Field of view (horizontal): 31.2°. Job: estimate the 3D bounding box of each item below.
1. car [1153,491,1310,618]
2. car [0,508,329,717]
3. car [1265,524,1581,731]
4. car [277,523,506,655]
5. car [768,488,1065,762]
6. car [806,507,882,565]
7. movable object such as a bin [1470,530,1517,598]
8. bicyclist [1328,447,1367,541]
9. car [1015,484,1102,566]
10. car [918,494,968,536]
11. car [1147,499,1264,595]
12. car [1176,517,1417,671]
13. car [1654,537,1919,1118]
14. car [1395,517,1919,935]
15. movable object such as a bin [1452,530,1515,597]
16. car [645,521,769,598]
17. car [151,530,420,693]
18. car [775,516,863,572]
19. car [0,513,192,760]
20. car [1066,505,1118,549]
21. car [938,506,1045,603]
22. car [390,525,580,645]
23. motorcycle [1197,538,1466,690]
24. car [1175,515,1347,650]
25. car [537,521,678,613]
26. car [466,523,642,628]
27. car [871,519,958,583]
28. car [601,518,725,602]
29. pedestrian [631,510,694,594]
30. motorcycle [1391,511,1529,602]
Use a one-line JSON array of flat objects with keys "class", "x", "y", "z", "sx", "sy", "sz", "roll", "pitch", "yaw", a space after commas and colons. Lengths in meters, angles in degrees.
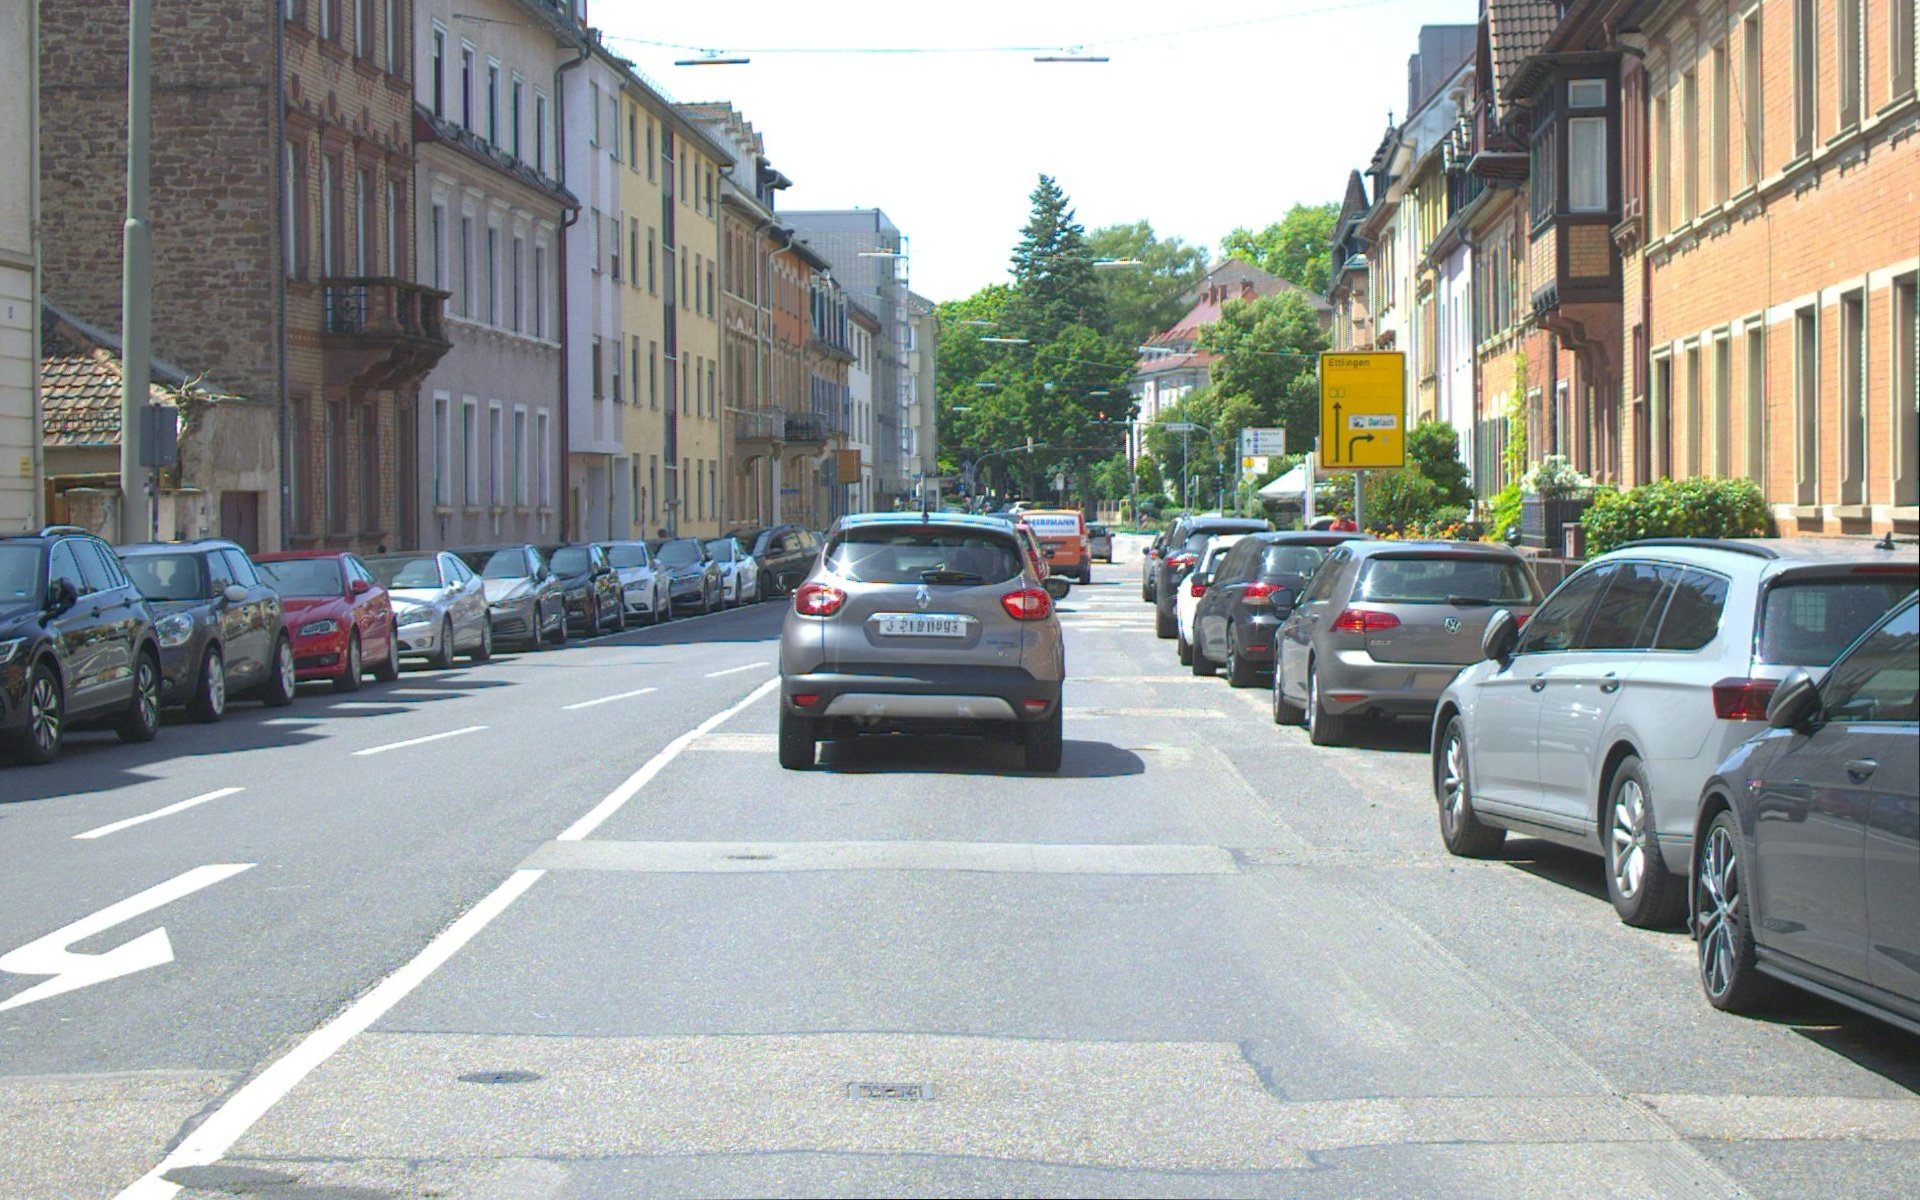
[{"class": "car", "x": 3.750, "y": -0.660, "z": 48.087, "sx": 1.994, "sy": 1.656, "sz": 4.625, "roll": -1, "pitch": 1, "yaw": 2}, {"class": "car", "x": -7.014, "y": 0.064, "z": 30.339, "sx": 1.840, "sy": 1.591, "sz": 4.502, "roll": -4, "pitch": 1, "yaw": 2}, {"class": "car", "x": 3.264, "y": 0.142, "z": 24.955, "sx": 1.700, "sy": 1.376, "sz": 4.167, "roll": 0, "pitch": 1, "yaw": 0}, {"class": "car", "x": -6.793, "y": -0.172, "z": 41.521, "sx": 1.840, "sy": 1.417, "sz": 4.502, "roll": -3, "pitch": 1, "yaw": 2}, {"class": "car", "x": -0.280, "y": 0.098, "z": 22.359, "sx": 1.744, "sy": 1.611, "sz": 4.000, "roll": 1, "pitch": 1, "yaw": -1}, {"class": "car", "x": -3.473, "y": -1.935, "z": 103.561, "sx": 1.905, "sy": 1.614, "sz": 4.302, "roll": -3, "pitch": 1, "yaw": 2}, {"class": "movable object such as a bin", "x": 8.412, "y": -0.569, "z": 54.214, "sx": 0.659, "sy": 1.051, "sz": 0.748, "roll": -1, "pitch": 1, "yaw": 4}, {"class": "bicyclist", "x": 6.147, "y": -1.676, "z": 54.559, "sx": 0.532, "sy": 1.464, "sz": 0.791, "roll": -1, "pitch": 1, "yaw": 3}, {"class": "car", "x": 2.566, "y": -1.957, "z": 88.546, "sx": 1.994, "sy": 2.006, "sz": 4.466, "roll": -1, "pitch": 2, "yaw": 4}, {"class": "car", "x": -0.736, "y": -3.837, "z": 155.193, "sx": 1.905, "sy": 1.815, "sz": 4.302, "roll": -1, "pitch": 1, "yaw": 4}, {"class": "car", "x": 4.653, "y": -1.048, "z": 65.731, "sx": 1.860, "sy": 1.742, "sz": 4.618, "roll": 1, "pitch": 2, "yaw": 0}, {"class": "car", "x": 3.219, "y": -0.100, "z": 33.696, "sx": 1.648, "sy": 1.409, "sz": 4.502, "roll": 0, "pitch": 1, "yaw": -4}, {"class": "car", "x": 3.180, "y": 0.555, "z": 9.240, "sx": 1.651, "sy": 1.415, "sz": 4.049, "roll": -1, "pitch": 2, "yaw": -2}, {"class": "car", "x": 3.237, "y": 0.393, "z": 14.349, "sx": 1.853, "sy": 1.458, "sz": 4.551, "roll": 0, "pitch": 1, "yaw": -6}, {"class": "movable object such as a bin", "x": 7.326, "y": -0.512, "z": 48.116, "sx": 0.788, "sy": 0.904, "sz": 0.539, "roll": -1, "pitch": 1, "yaw": 0}, {"class": "car", "x": -5.130, "y": -0.846, "z": 70.175, "sx": 1.840, "sy": 1.417, "sz": 4.557, "roll": -4, "pitch": 1, "yaw": 4}, {"class": "car", "x": -6.743, "y": 0.060, "z": 34.826, "sx": 1.839, "sy": 1.417, "sz": 4.503, "roll": -3, "pitch": 1, "yaw": -1}, {"class": "car", "x": -3.828, "y": -1.556, "z": 94.178, "sx": 1.905, "sy": 1.396, "sz": 4.755, "roll": -3, "pitch": 1, "yaw": 3}, {"class": "car", "x": -6.978, "y": 0.227, "z": 24.438, "sx": 1.840, "sy": 1.591, "sz": 4.502, "roll": -3, "pitch": 1, "yaw": 2}, {"class": "car", "x": 4.822, "y": -2.681, "z": 125.185, "sx": 1.763, "sy": 1.554, "sz": 3.942, "roll": -1, "pitch": 2, "yaw": 4}, {"class": "car", "x": 0.591, "y": -0.839, "z": 61.841, "sx": 1.812, "sy": 1.615, "sz": 4.441, "roll": -2, "pitch": 1, "yaw": 1}, {"class": "car", "x": -6.483, "y": -0.242, "z": 47.379, "sx": 1.840, "sy": 1.417, "sz": 4.502, "roll": -5, "pitch": 1, "yaw": 1}, {"class": "motorcycle", "x": 3.167, "y": 0.100, "z": 29.376, "sx": 1.994, "sy": 1.221, "sz": 1.110, "roll": 2, "pitch": 2, "yaw": 41}, {"class": "car", "x": 3.350, "y": -0.241, "z": 38.926, "sx": 1.716, "sy": 1.409, "sz": 4.589, "roll": -1, "pitch": 1, "yaw": 3}, {"class": "car", "x": -5.946, "y": -0.580, "z": 58.487, "sx": 1.840, "sy": 1.417, "sz": 4.502, "roll": -3, "pitch": 1, "yaw": 0}, {"class": "car", "x": -6.231, "y": -0.417, "z": 53.240, "sx": 1.840, "sy": 1.417, "sz": 4.502, "roll": -4, "pitch": 1, "yaw": 4}, {"class": "car", "x": -1.021, "y": -1.149, "z": 79.005, "sx": 1.790, "sy": 1.415, "sz": 4.315, "roll": 0, "pitch": 1, "yaw": 2}, {"class": "car", "x": -5.524, "y": -0.770, "z": 64.406, "sx": 1.840, "sy": 1.417, "sz": 4.646, "roll": -3, "pitch": 1, "yaw": 0}, {"class": "pedestrian", "x": -6.318, "y": -1.026, "z": 73.129, "sx": 1.151, "sy": 1.744, "sz": 0.969, "roll": -1, "pitch": 1, "yaw": 5}, {"class": "motorcycle", "x": 8.256, "y": -0.728, "z": 56.835, "sx": 2.129, "sy": 1.403, "sz": 0.937, "roll": -2, "pitch": 1, "yaw": 2}]
